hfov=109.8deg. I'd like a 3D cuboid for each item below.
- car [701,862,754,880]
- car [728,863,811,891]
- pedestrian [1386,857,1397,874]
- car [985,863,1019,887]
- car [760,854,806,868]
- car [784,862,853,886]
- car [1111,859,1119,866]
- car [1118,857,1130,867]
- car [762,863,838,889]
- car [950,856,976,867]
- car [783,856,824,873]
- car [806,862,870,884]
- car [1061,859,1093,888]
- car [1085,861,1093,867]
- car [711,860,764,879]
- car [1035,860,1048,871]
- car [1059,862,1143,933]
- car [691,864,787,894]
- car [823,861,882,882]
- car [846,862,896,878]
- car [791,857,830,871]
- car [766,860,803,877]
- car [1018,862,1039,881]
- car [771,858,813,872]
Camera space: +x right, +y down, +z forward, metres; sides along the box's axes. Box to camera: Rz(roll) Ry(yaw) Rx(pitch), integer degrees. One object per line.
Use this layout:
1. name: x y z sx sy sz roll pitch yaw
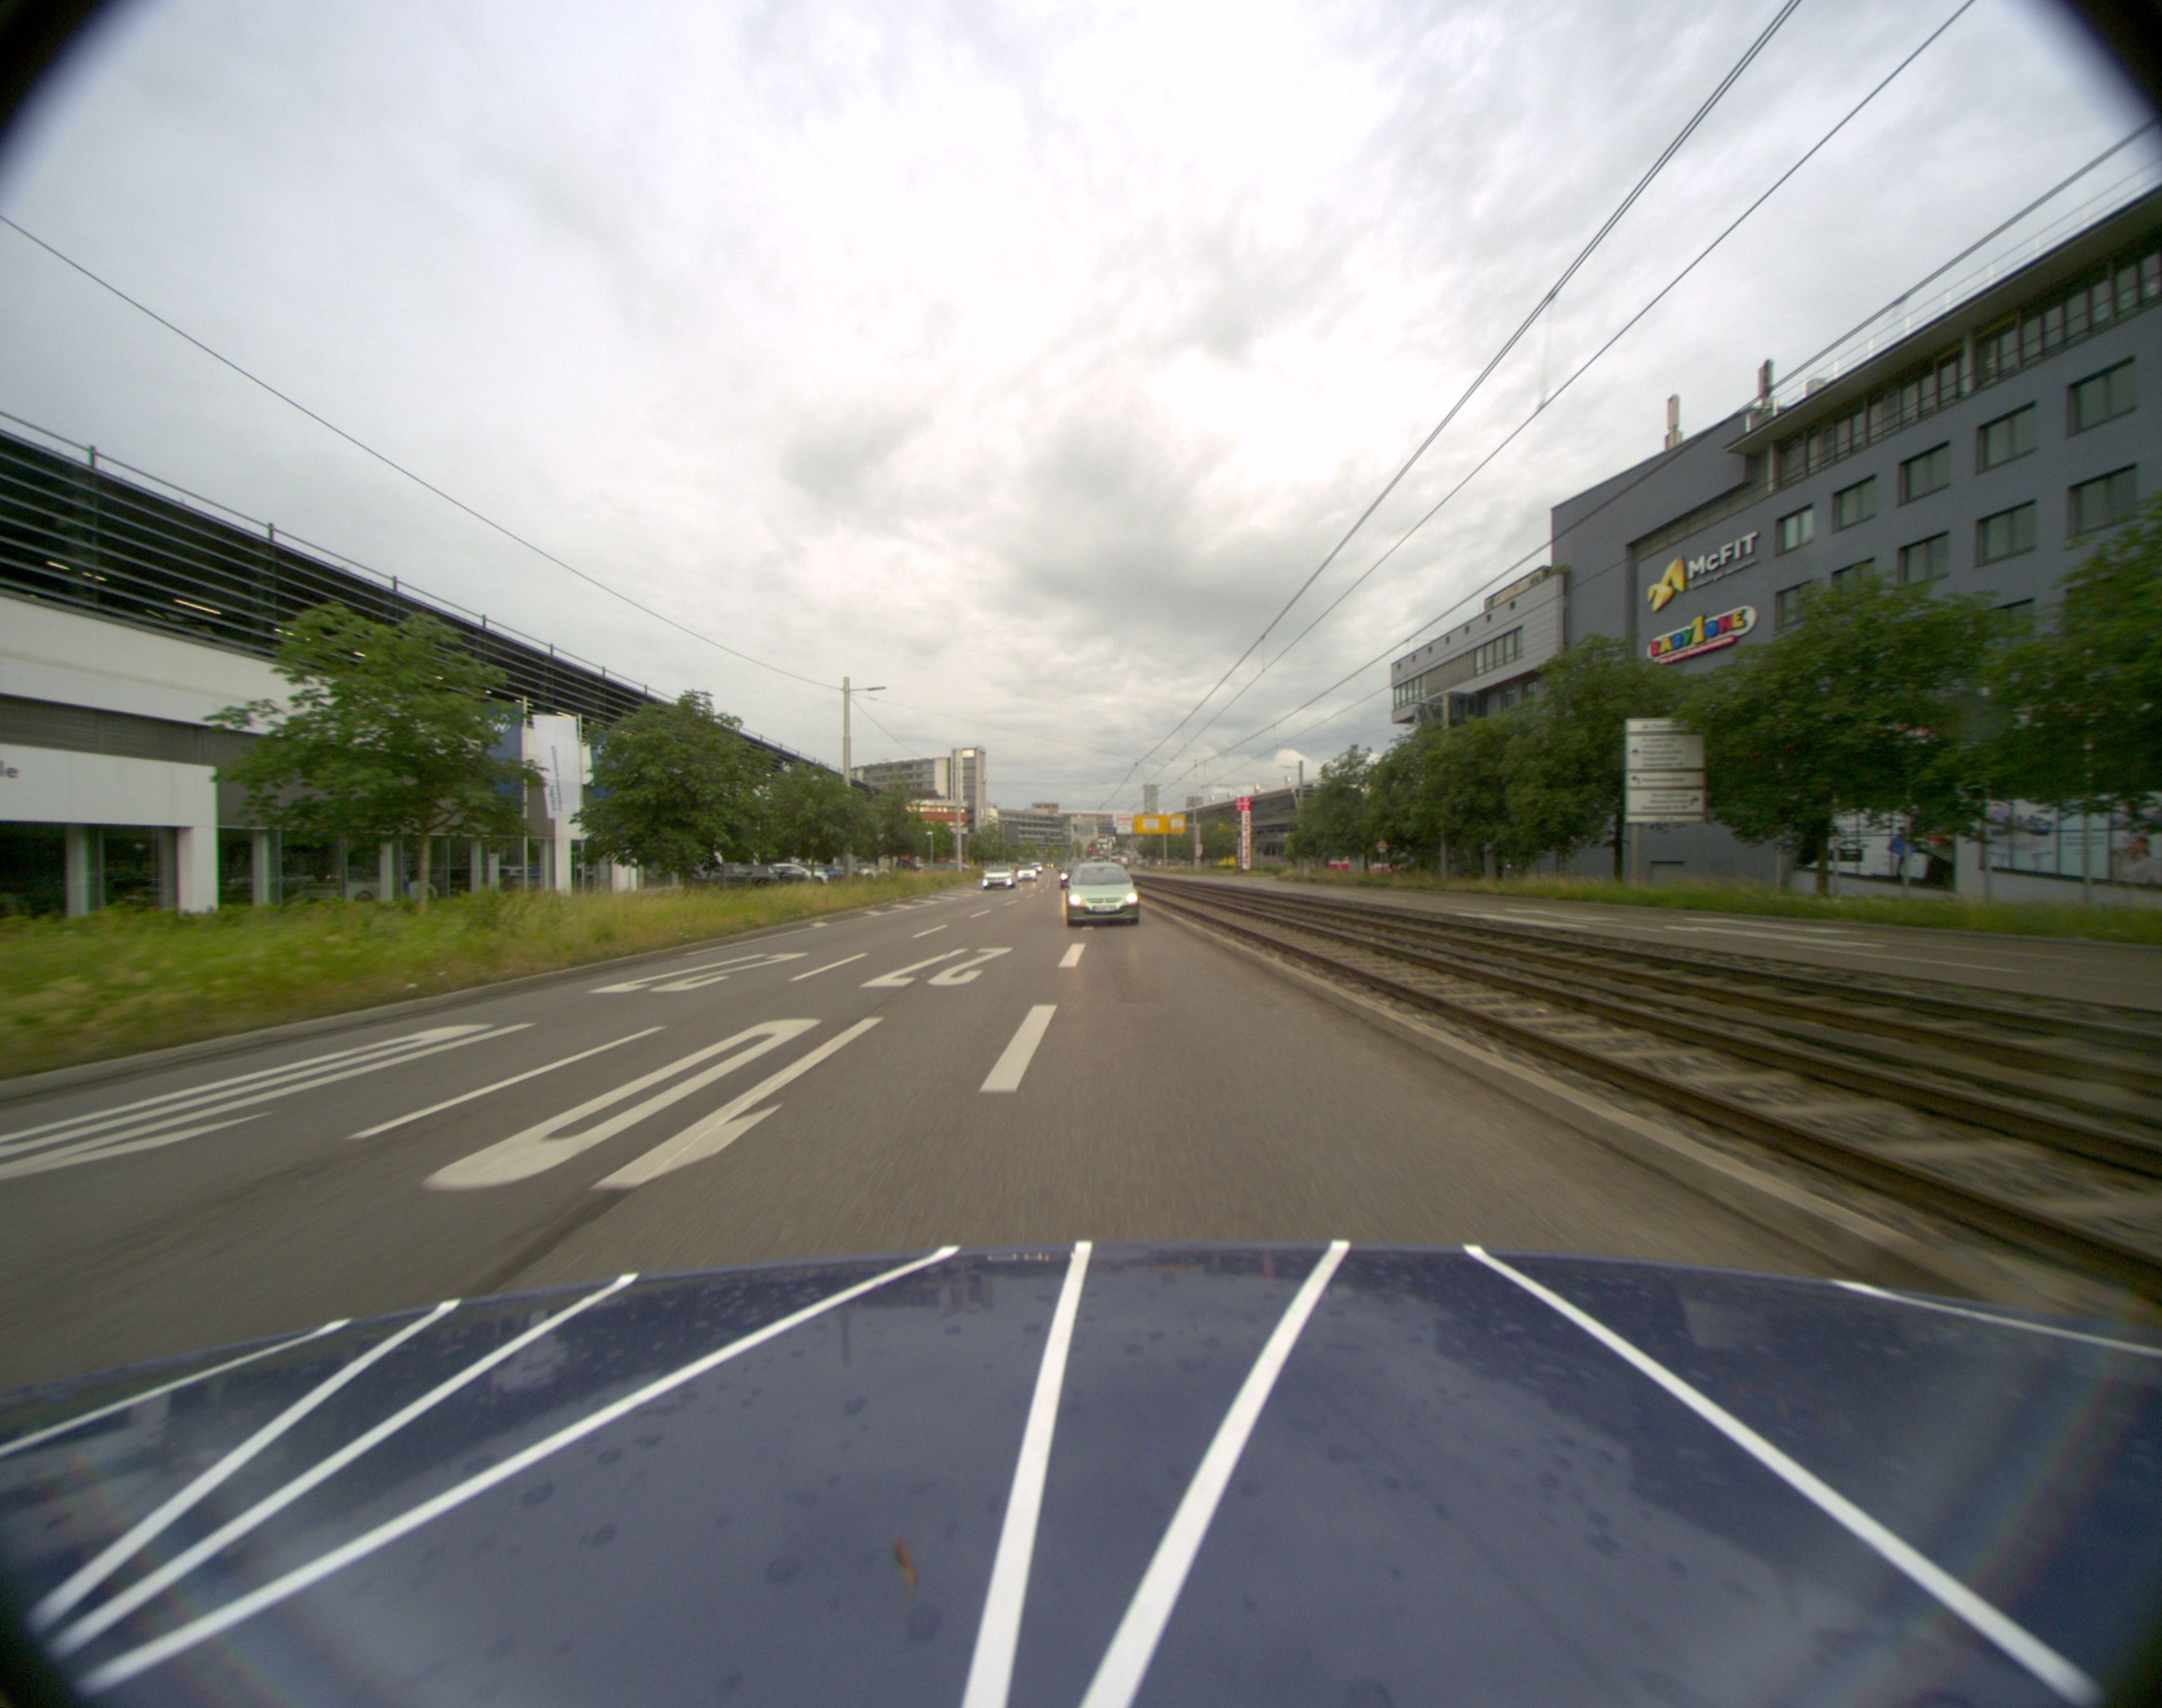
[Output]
1. car: -31.242 1.481 67.217 3.827 1.578 1.638 0 0 -3
2. car: -18.817 1.363 45.962 4.384 1.559 1.794 1 1 -34
3. pedestrian: 31.055 1.166 75.957 0.810 1.669 0.580 0 0 -13
4. car: -5.045 1.341 49.235 1.879 1.485 3.836 -1 0 -2
5. car: -30.584 0.759 78.083 3.998 1.416 1.763 0 0 -3
6. car: -18.256 1.390 52.862 4.198 1.559 1.794 1 1 -37
7. car: 8.579 2.092 190.880 1.602 1.529 2.948 2 3 -2
8. car: 8.118 1.547 143.754 1.999 1.725 4.213 1 -2 -1
9. car: -18.297 1.407 49.510 4.363 1.617 1.851 1 1 -32
10. car: -21.744 1.385 139.716 4.505 1.980 1.818 1 0 -21
11. car: -32.080 1.192 87.967 4.038 1.964 1.944 0 0 -3
12. car: -18.073 1.389 56.586 4.199 1.559 1.794 1 1 -43
13. car: -0.245 1.128 45.447 1.762 1.535 3.714 -3 0 -1
14. car: 2.007 2.578 200.399 1.807 1.420 4.235 1 -1 -3
15. car: -31.558 1.381 69.892 3.997 1.499 1.786 -3 0 0
16. car: -6.050 1.725 115.785 1.890 1.584 3.981 -1 0 -3
17. car: 0.396 1.020 19.358 1.762 1.489 4.136 -3 0 -3
18. car: -18.996 1.376 42.301 4.634 1.559 1.847 1 1 -32
19. car: -18.220 1.404 60.622 4.108 1.559 1.794 1 1 -39
20. car: -19.294 1.474 69.960 4.108 1.457 1.743 1 1 -35
21. car: -32.218 1.204 90.477 3.998 1.622 1.904 0 0 -3
22. car: -27.172 1.319 69.813 1.784 1.459 4.692 1 0 -3
23. car: -4.849 1.584 69.796 1.819 1.584 3.835 -1 0 -4
24. car: -32.454 1.207 85.298 3.998 1.527 1.904 0 0 -3
